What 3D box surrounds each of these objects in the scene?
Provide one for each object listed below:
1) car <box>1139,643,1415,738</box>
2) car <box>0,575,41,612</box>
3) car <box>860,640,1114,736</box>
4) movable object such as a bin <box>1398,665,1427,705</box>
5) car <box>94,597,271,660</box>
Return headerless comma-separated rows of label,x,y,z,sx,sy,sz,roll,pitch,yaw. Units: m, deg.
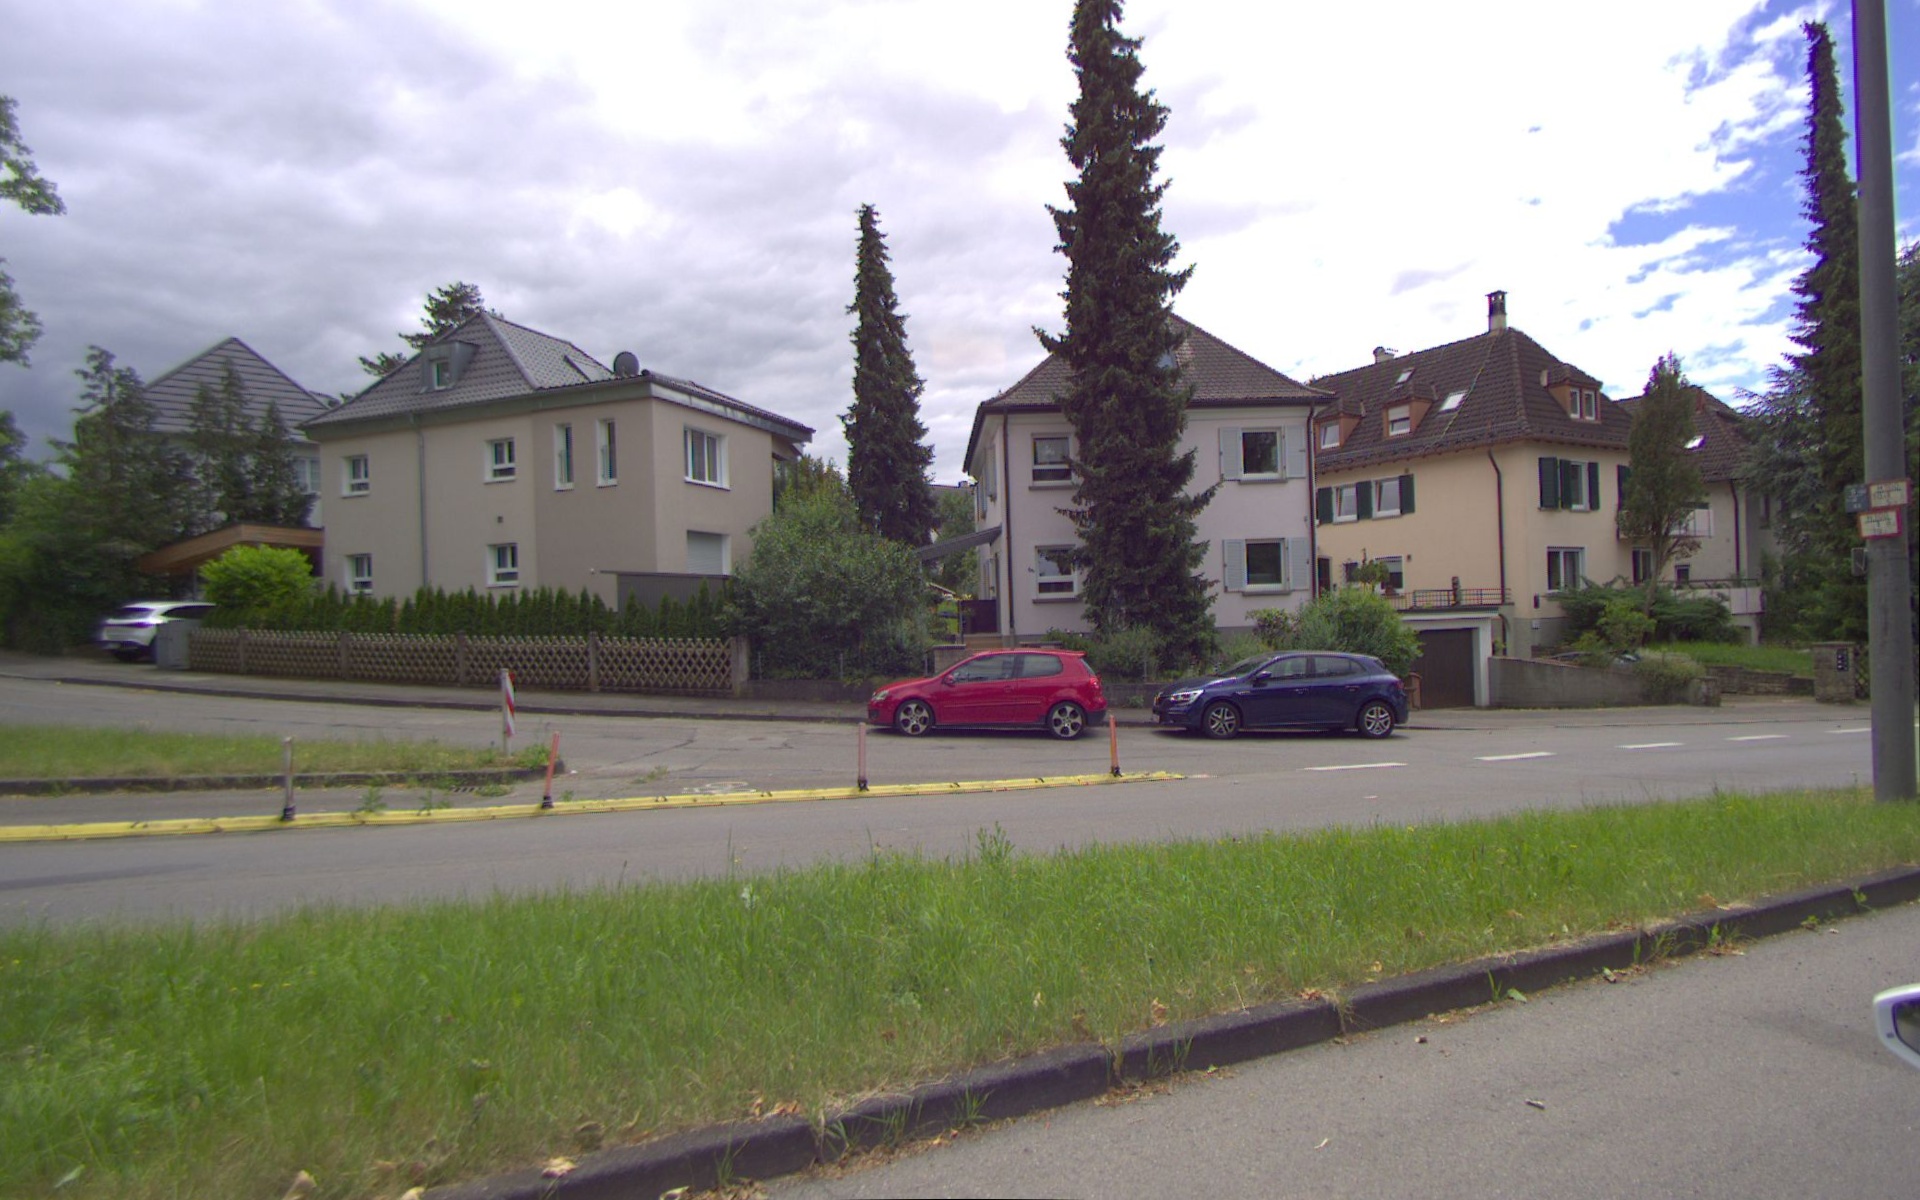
car,5.379,1.532,17.382,4.231,1.493,1.732,1,-1,-3
car,-41.080,-0.292,42.044,3.797,1.537,1.590,1,0,-43
car,0.480,1.488,17.494,4.193,1.493,1.733,0,-1,2
movable object such as a bin,10.012,1.878,22.229,0.581,0.846,0.315,0,-1,-30
car,-21.395,0.746,27.750,1.841,1.568,3.375,-2,0,26
